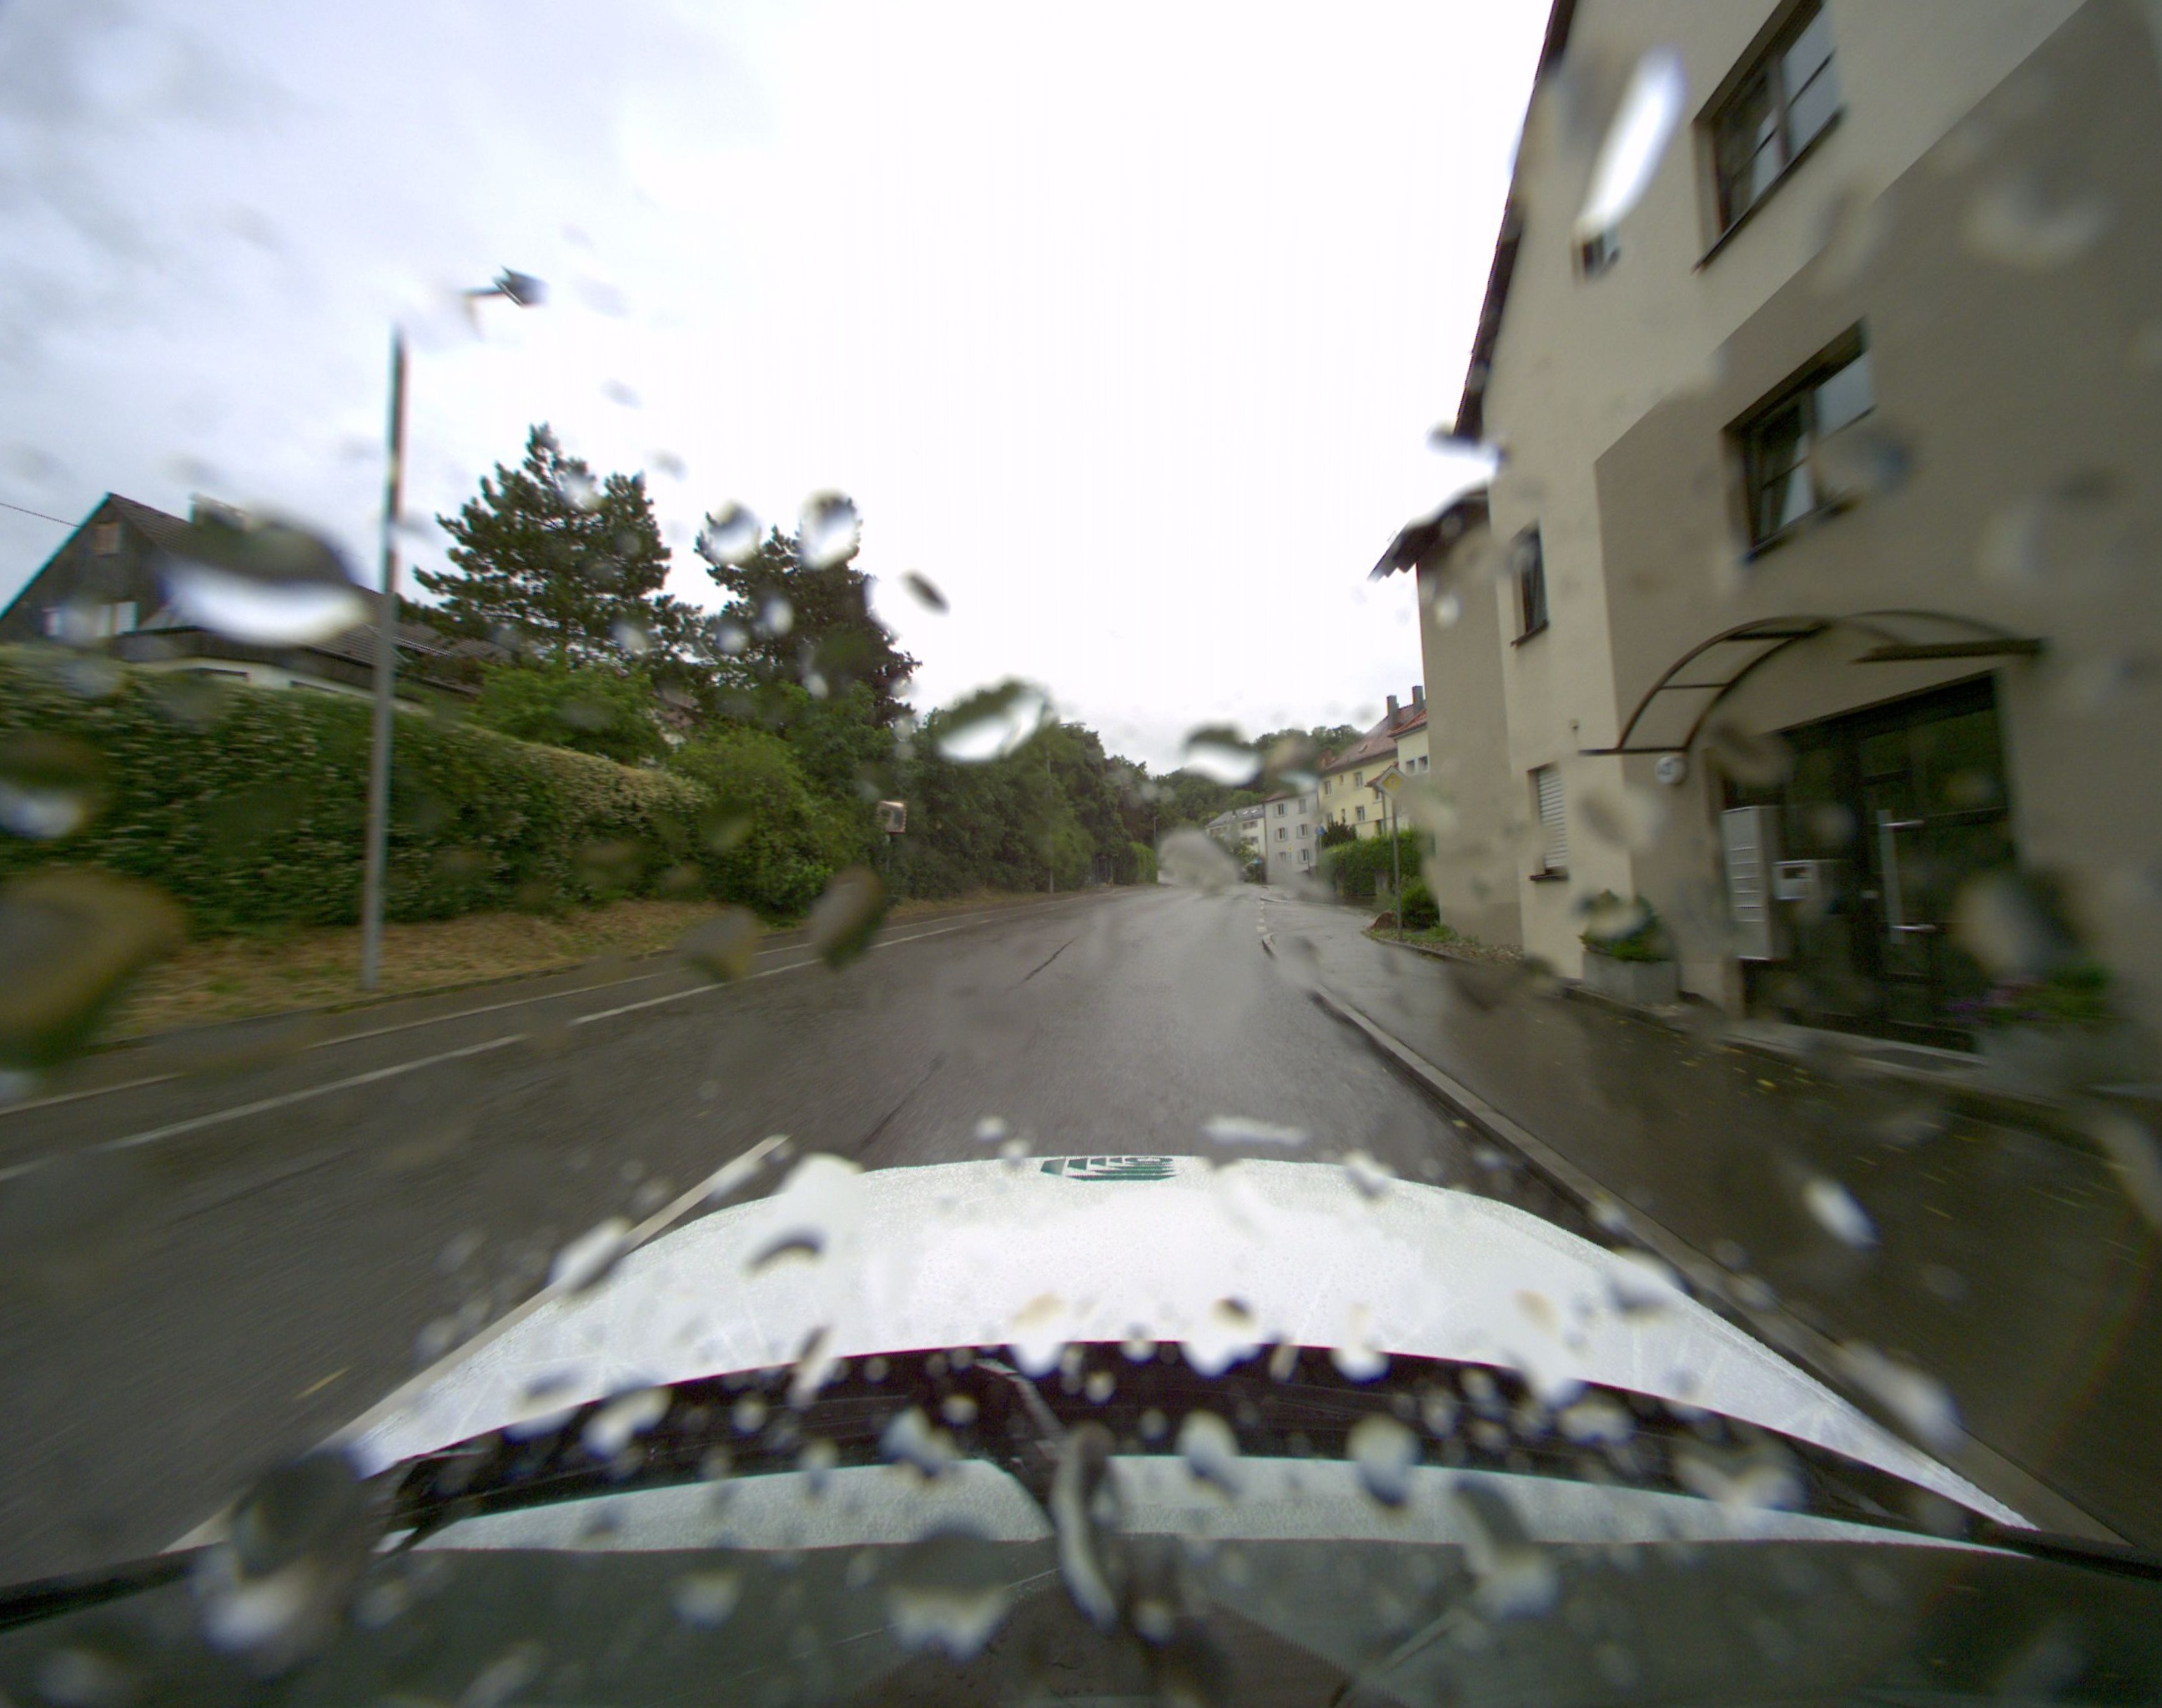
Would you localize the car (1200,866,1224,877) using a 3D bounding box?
[{"bbox_3d":[22.618,3.070,140.675,3.972,1.772,2.000,1,-3,1],"label":"car"}]

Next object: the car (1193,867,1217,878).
[{"bbox_3d":[22.078,3.259,145.007,3.972,1.772,2.000,1,-3,1],"label":"car"}]

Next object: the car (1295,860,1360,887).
[{"bbox_3d":[17.441,1.390,57.682,3.984,1.772,1.994,2,-3,-8],"label":"car"}]

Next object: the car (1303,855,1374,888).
[{"bbox_3d":[16.763,1.146,53.077,3.984,2.014,1.994,2,-3,-8],"label":"car"}]
